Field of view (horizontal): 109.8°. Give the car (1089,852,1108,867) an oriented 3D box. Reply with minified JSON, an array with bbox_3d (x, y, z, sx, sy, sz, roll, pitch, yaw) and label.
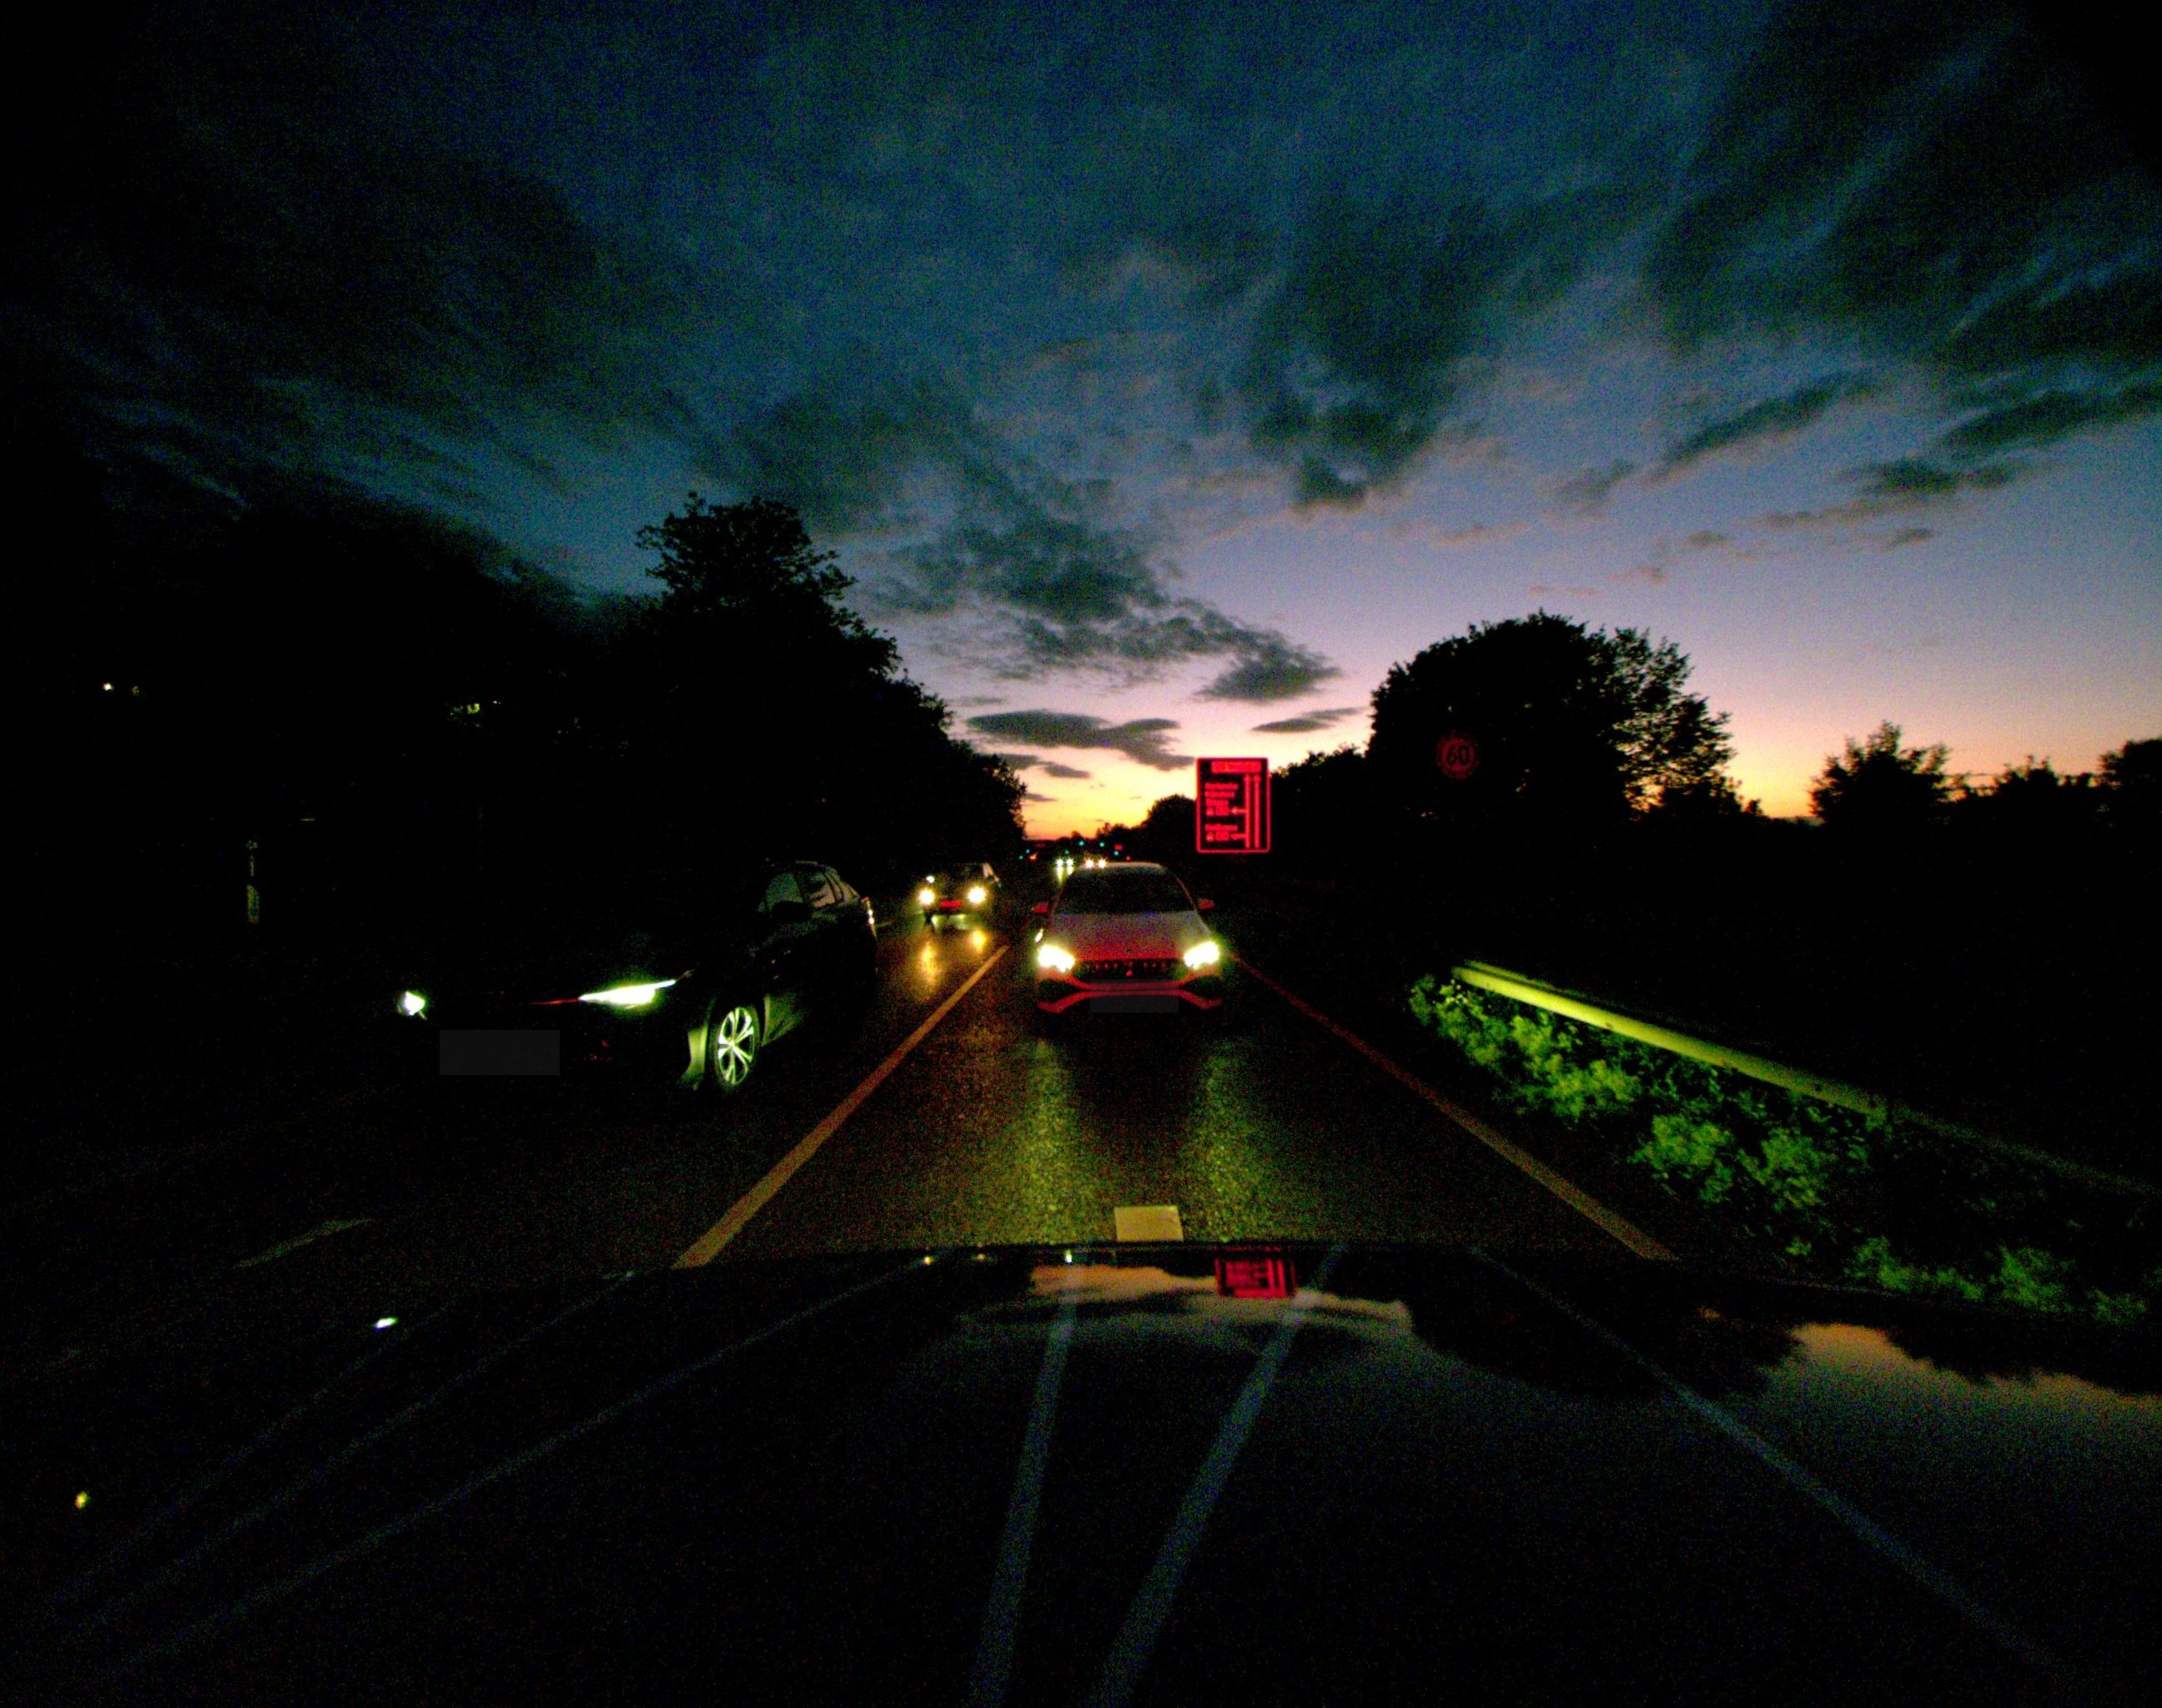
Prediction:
[{"bbox_3d":[1.937,0.583,86.460,1.999,1.602,4.501,-1,0,-1],"label":"car"}]

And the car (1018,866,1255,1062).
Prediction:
[{"bbox_3d":[0.453,0.933,8.476,1.901,1.472,4.514,-2,0,0],"label":"car"}]

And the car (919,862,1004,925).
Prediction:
[{"bbox_3d":[-3.180,1.001,20.859,1.624,1.460,3.871,-2,0,1],"label":"car"}]

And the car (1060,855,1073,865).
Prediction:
[{"bbox_3d":[-2.180,0.846,115.424,1.999,1.423,4.501,0,0,-1],"label":"car"}]

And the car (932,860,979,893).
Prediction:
[{"bbox_3d":[-6.178,1.070,37.790,1.924,1.423,4.701,-1,0,-5],"label":"car"}]

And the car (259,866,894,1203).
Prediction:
[{"bbox_3d":[-3.172,0.971,6.265,1.998,1.600,4.711,-2,0,1],"label":"car"}]
